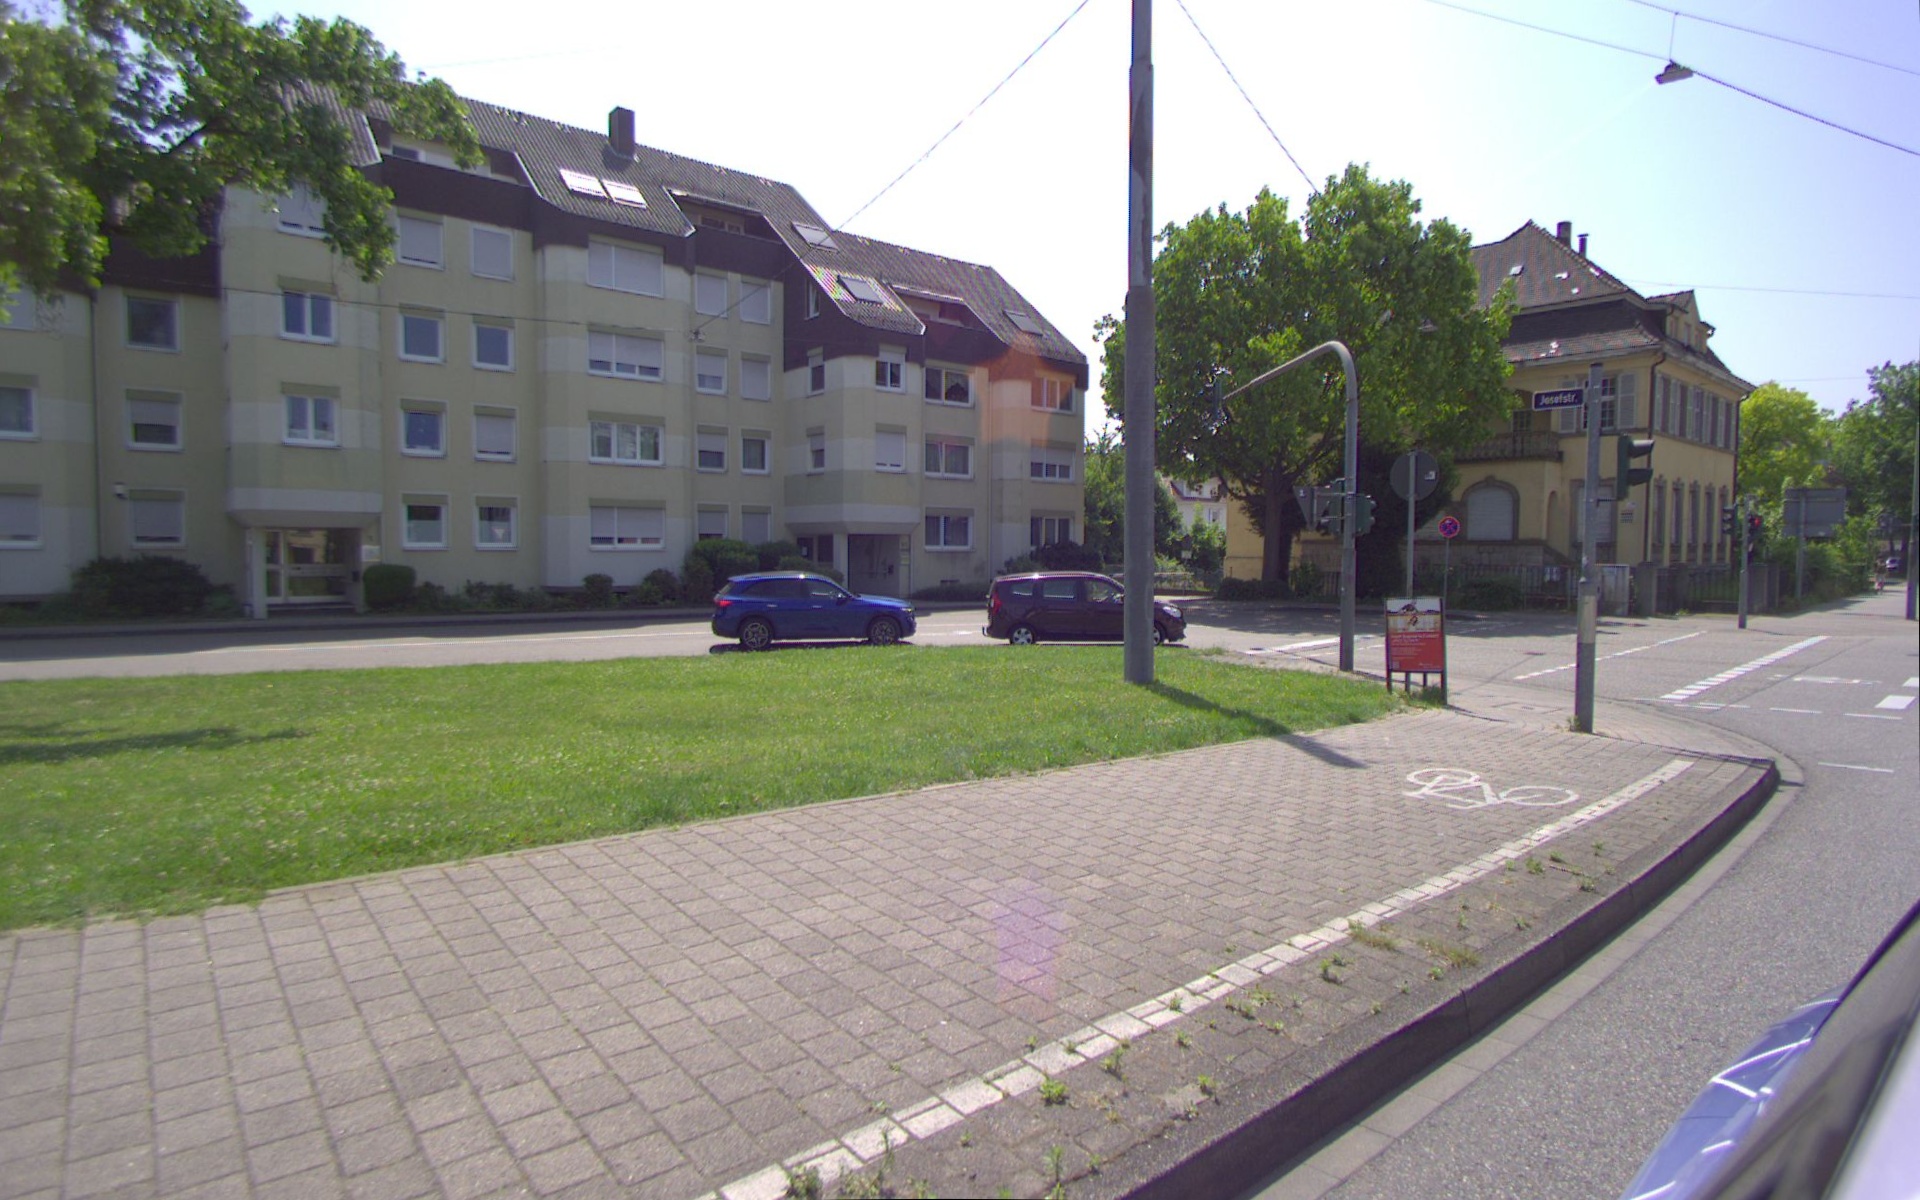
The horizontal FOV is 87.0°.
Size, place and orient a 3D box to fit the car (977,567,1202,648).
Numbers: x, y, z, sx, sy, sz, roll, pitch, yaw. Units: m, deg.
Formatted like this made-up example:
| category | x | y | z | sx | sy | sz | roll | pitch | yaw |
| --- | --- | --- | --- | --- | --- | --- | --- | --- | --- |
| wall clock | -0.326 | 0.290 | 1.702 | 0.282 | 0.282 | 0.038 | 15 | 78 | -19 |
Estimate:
| category | x | y | z | sx | sy | sz | roll | pitch | yaw |
| --- | --- | --- | --- | --- | --- | --- | --- | --- | --- |
| car | 2.834 | 0.140 | 22.507 | 4.735 | 1.652 | 1.916 | -1 | 3 | 7 |

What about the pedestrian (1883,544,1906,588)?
| category | x | y | z | sx | sy | sz | roll | pitch | yaw |
| --- | --- | --- | --- | --- | --- | --- | --- | --- | --- |
| pedestrian | 41.613 | -1.513 | 45.067 | 0.731 | 1.941 | 0.620 | -2 | 4 | -43 |

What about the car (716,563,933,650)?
| category | x | y | z | sx | sy | sz | roll | pitch | yaw |
| --- | --- | --- | --- | --- | --- | --- | --- | --- | --- |
| car | -3.113 | 0.092 | 23.013 | 4.669 | 1.721 | 2.005 | -1 | 4 | -12 |
